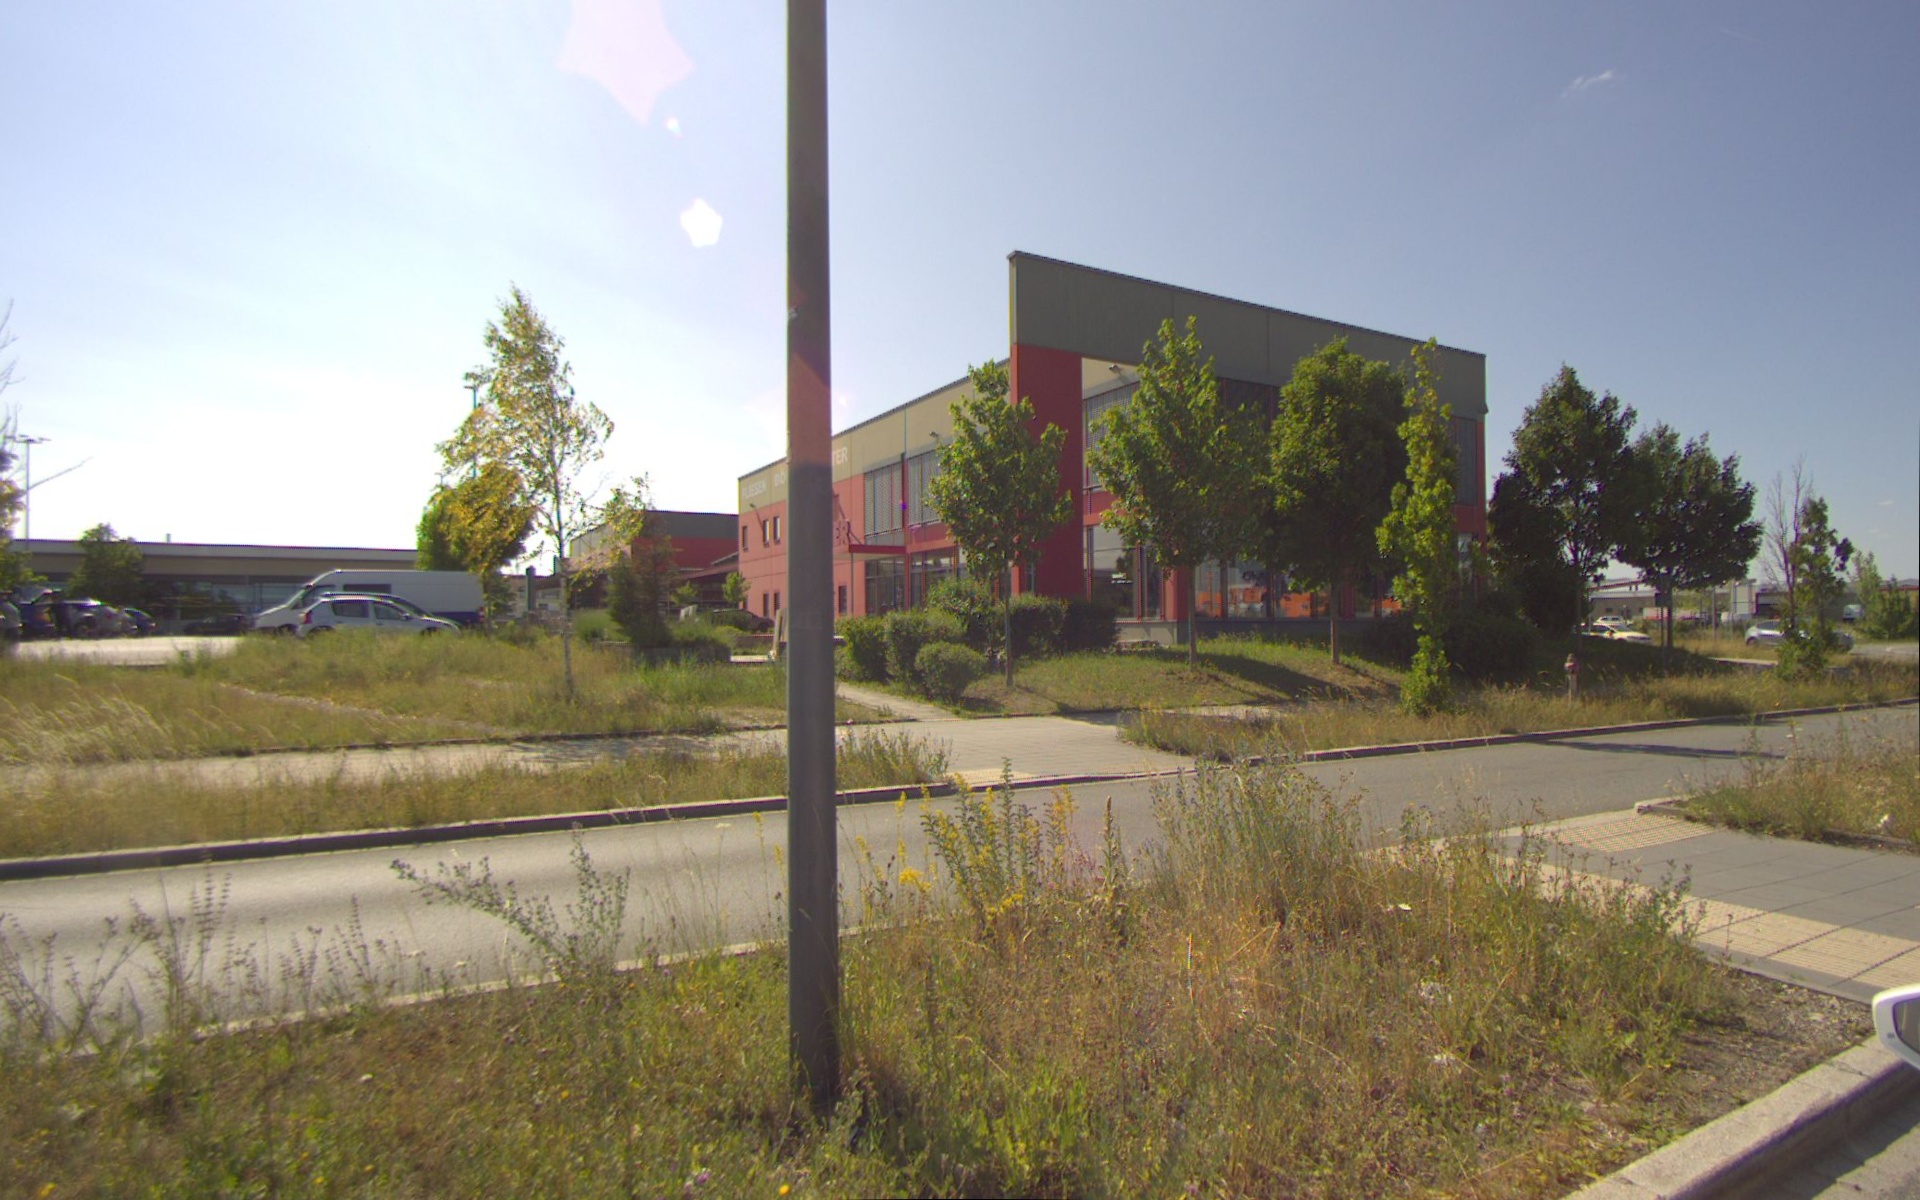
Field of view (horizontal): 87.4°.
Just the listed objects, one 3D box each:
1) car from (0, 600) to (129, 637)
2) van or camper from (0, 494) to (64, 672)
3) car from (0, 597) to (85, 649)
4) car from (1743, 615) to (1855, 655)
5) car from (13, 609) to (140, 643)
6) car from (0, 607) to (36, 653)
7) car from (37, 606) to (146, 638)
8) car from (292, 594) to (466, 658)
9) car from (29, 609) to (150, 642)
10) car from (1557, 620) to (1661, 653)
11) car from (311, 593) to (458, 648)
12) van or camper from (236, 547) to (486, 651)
[{"bbox_3d":[-41.310,0.881,46.316,4.333,1.634,1.822,1,-2,-32],"label":"car"},{"bbox_3d":[-19.836,-0.369,18.641,2.520,3.514,7.672,1,-2,-24],"label":"van or camper"},{"bbox_3d":[-37.393,0.900,39.419,4.333,2.021,1.822,1,-2,-32],"label":"car"},{"bbox_3d":[38.722,1.580,46.507,1.924,1.647,4.627,-1,-1,10],"label":"car"},{"bbox_3d":[-42.792,1.270,48.804,4.333,1.613,1.822,1,-2,-32],"label":"car"},{"bbox_3d":[-35.034,1.031,34.666,4.333,1.583,1.822,1,-2,-32],"label":"car"},{"bbox_3d":[-46.893,1.197,54.336,4.172,1.707,1.794,1,-1,-31],"label":"car"},{"bbox_3d":[-16.004,0.724,27.786,4.039,1.636,1.652,1,-2,-33],"label":"car"},{"bbox_3d":[-43.802,1.313,50.703,4.333,1.593,1.822,1,-2,-32],"label":"car"},{"bbox_3d":[36.759,2.092,56.986,1.826,1.687,4.552,-1,-3,-32],"label":"car"},{"bbox_3d":[-18.559,0.674,32.484,4.039,1.693,1.652,1,-2,-33],"label":"car"},{"bbox_3d":[-20.432,0.058,34.716,7.152,3.314,2.418,1,-2,-31],"label":"van or camper"}]
